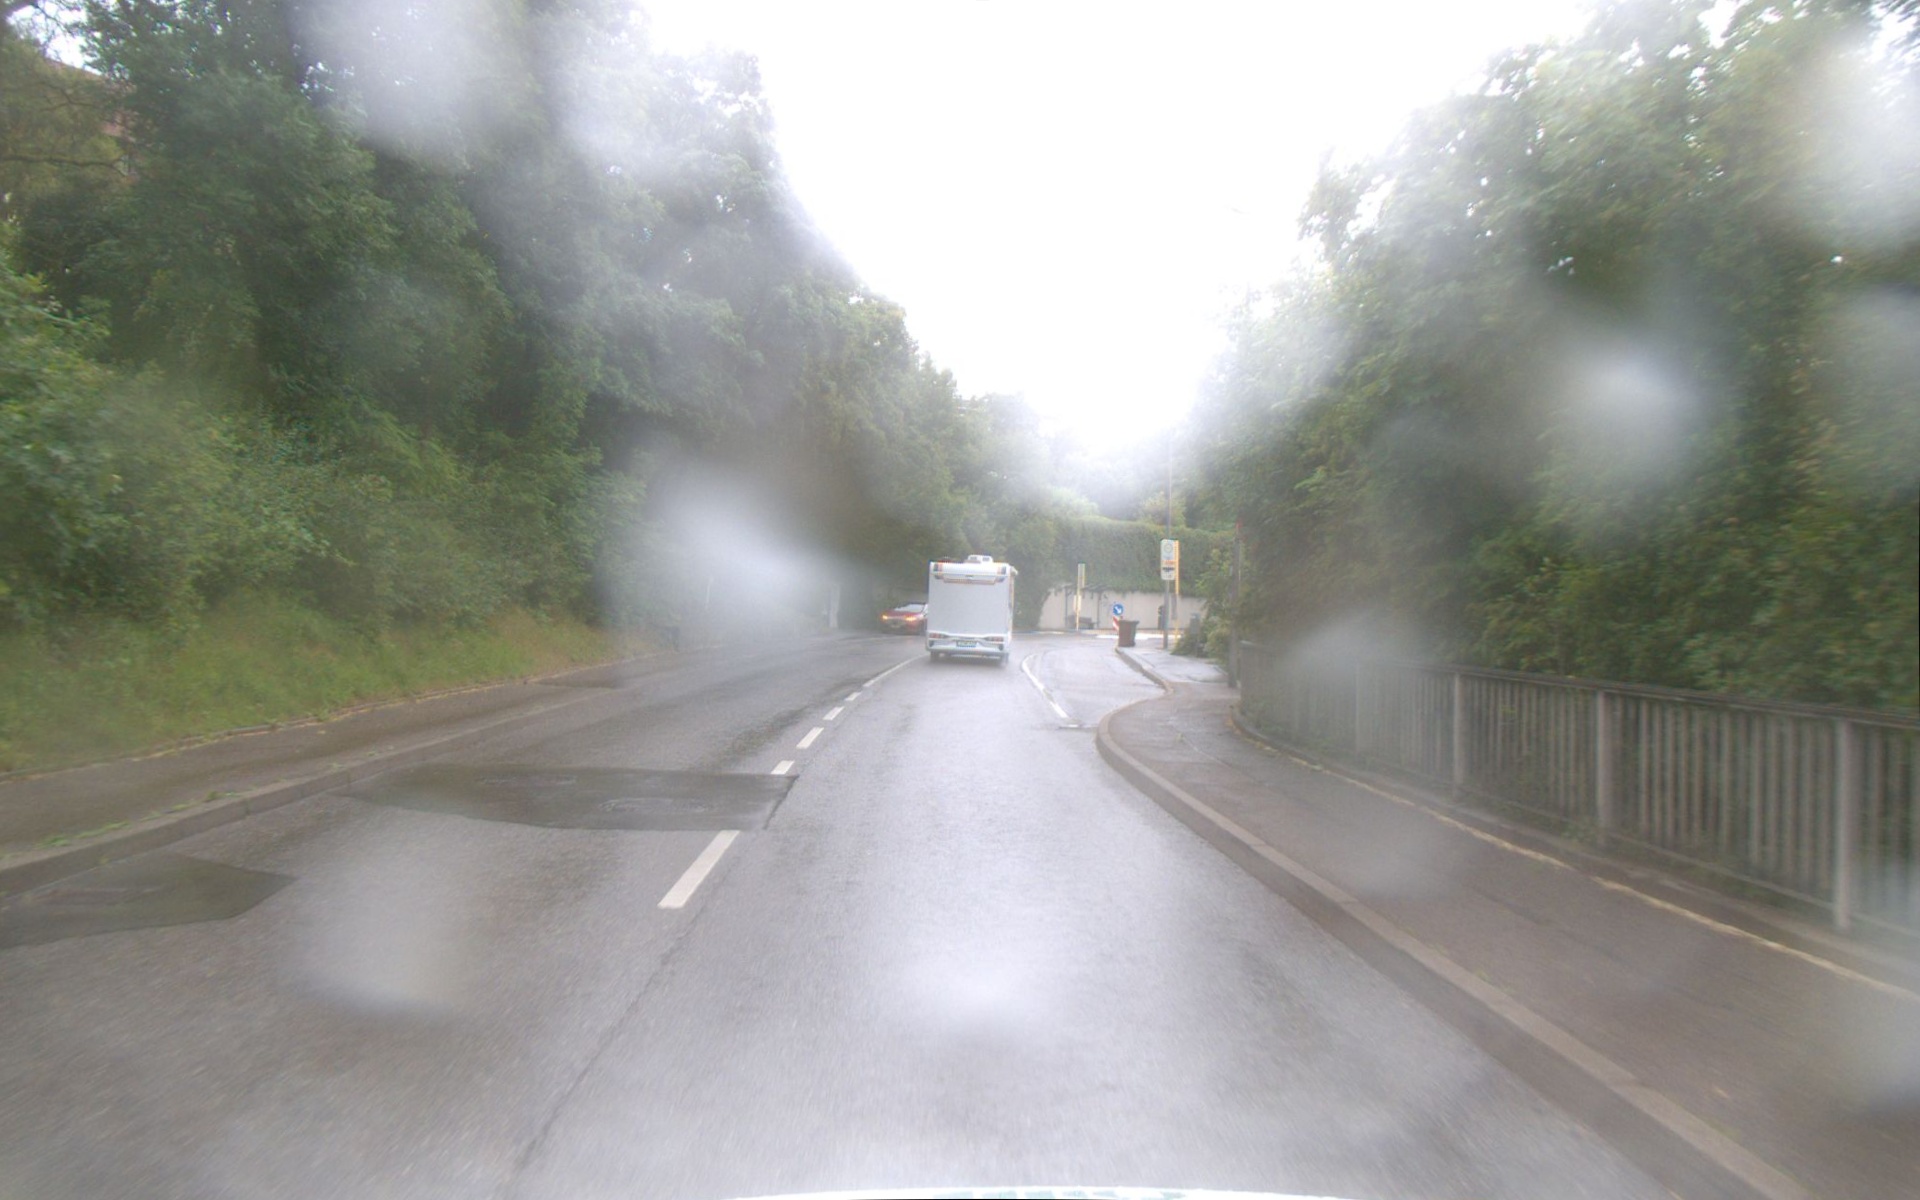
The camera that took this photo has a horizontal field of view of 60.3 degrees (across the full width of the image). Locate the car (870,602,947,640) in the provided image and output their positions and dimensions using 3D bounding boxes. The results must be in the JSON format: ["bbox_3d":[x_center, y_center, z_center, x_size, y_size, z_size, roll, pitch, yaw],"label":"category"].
[{"bbox_3d":[-2.271,0.942,74.871,1.952,1.589,4.654,3,0,18],"label":"car"}]

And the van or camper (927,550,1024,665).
[{"bbox_3d":[0.507,0.250,46.847,2.487,2.976,5.949,-2,-1,2],"label":"van or camper"}]

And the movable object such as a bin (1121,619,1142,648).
[{"bbox_3d":[7.030,1.354,67.769,0.761,1.153,0.739,2,0,9],"label":"movable object such as a bin"}]

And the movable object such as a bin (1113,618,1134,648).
[{"bbox_3d":[6.591,1.323,66.530,0.761,1.153,0.739,2,0,9],"label":"movable object such as a bin"}]
